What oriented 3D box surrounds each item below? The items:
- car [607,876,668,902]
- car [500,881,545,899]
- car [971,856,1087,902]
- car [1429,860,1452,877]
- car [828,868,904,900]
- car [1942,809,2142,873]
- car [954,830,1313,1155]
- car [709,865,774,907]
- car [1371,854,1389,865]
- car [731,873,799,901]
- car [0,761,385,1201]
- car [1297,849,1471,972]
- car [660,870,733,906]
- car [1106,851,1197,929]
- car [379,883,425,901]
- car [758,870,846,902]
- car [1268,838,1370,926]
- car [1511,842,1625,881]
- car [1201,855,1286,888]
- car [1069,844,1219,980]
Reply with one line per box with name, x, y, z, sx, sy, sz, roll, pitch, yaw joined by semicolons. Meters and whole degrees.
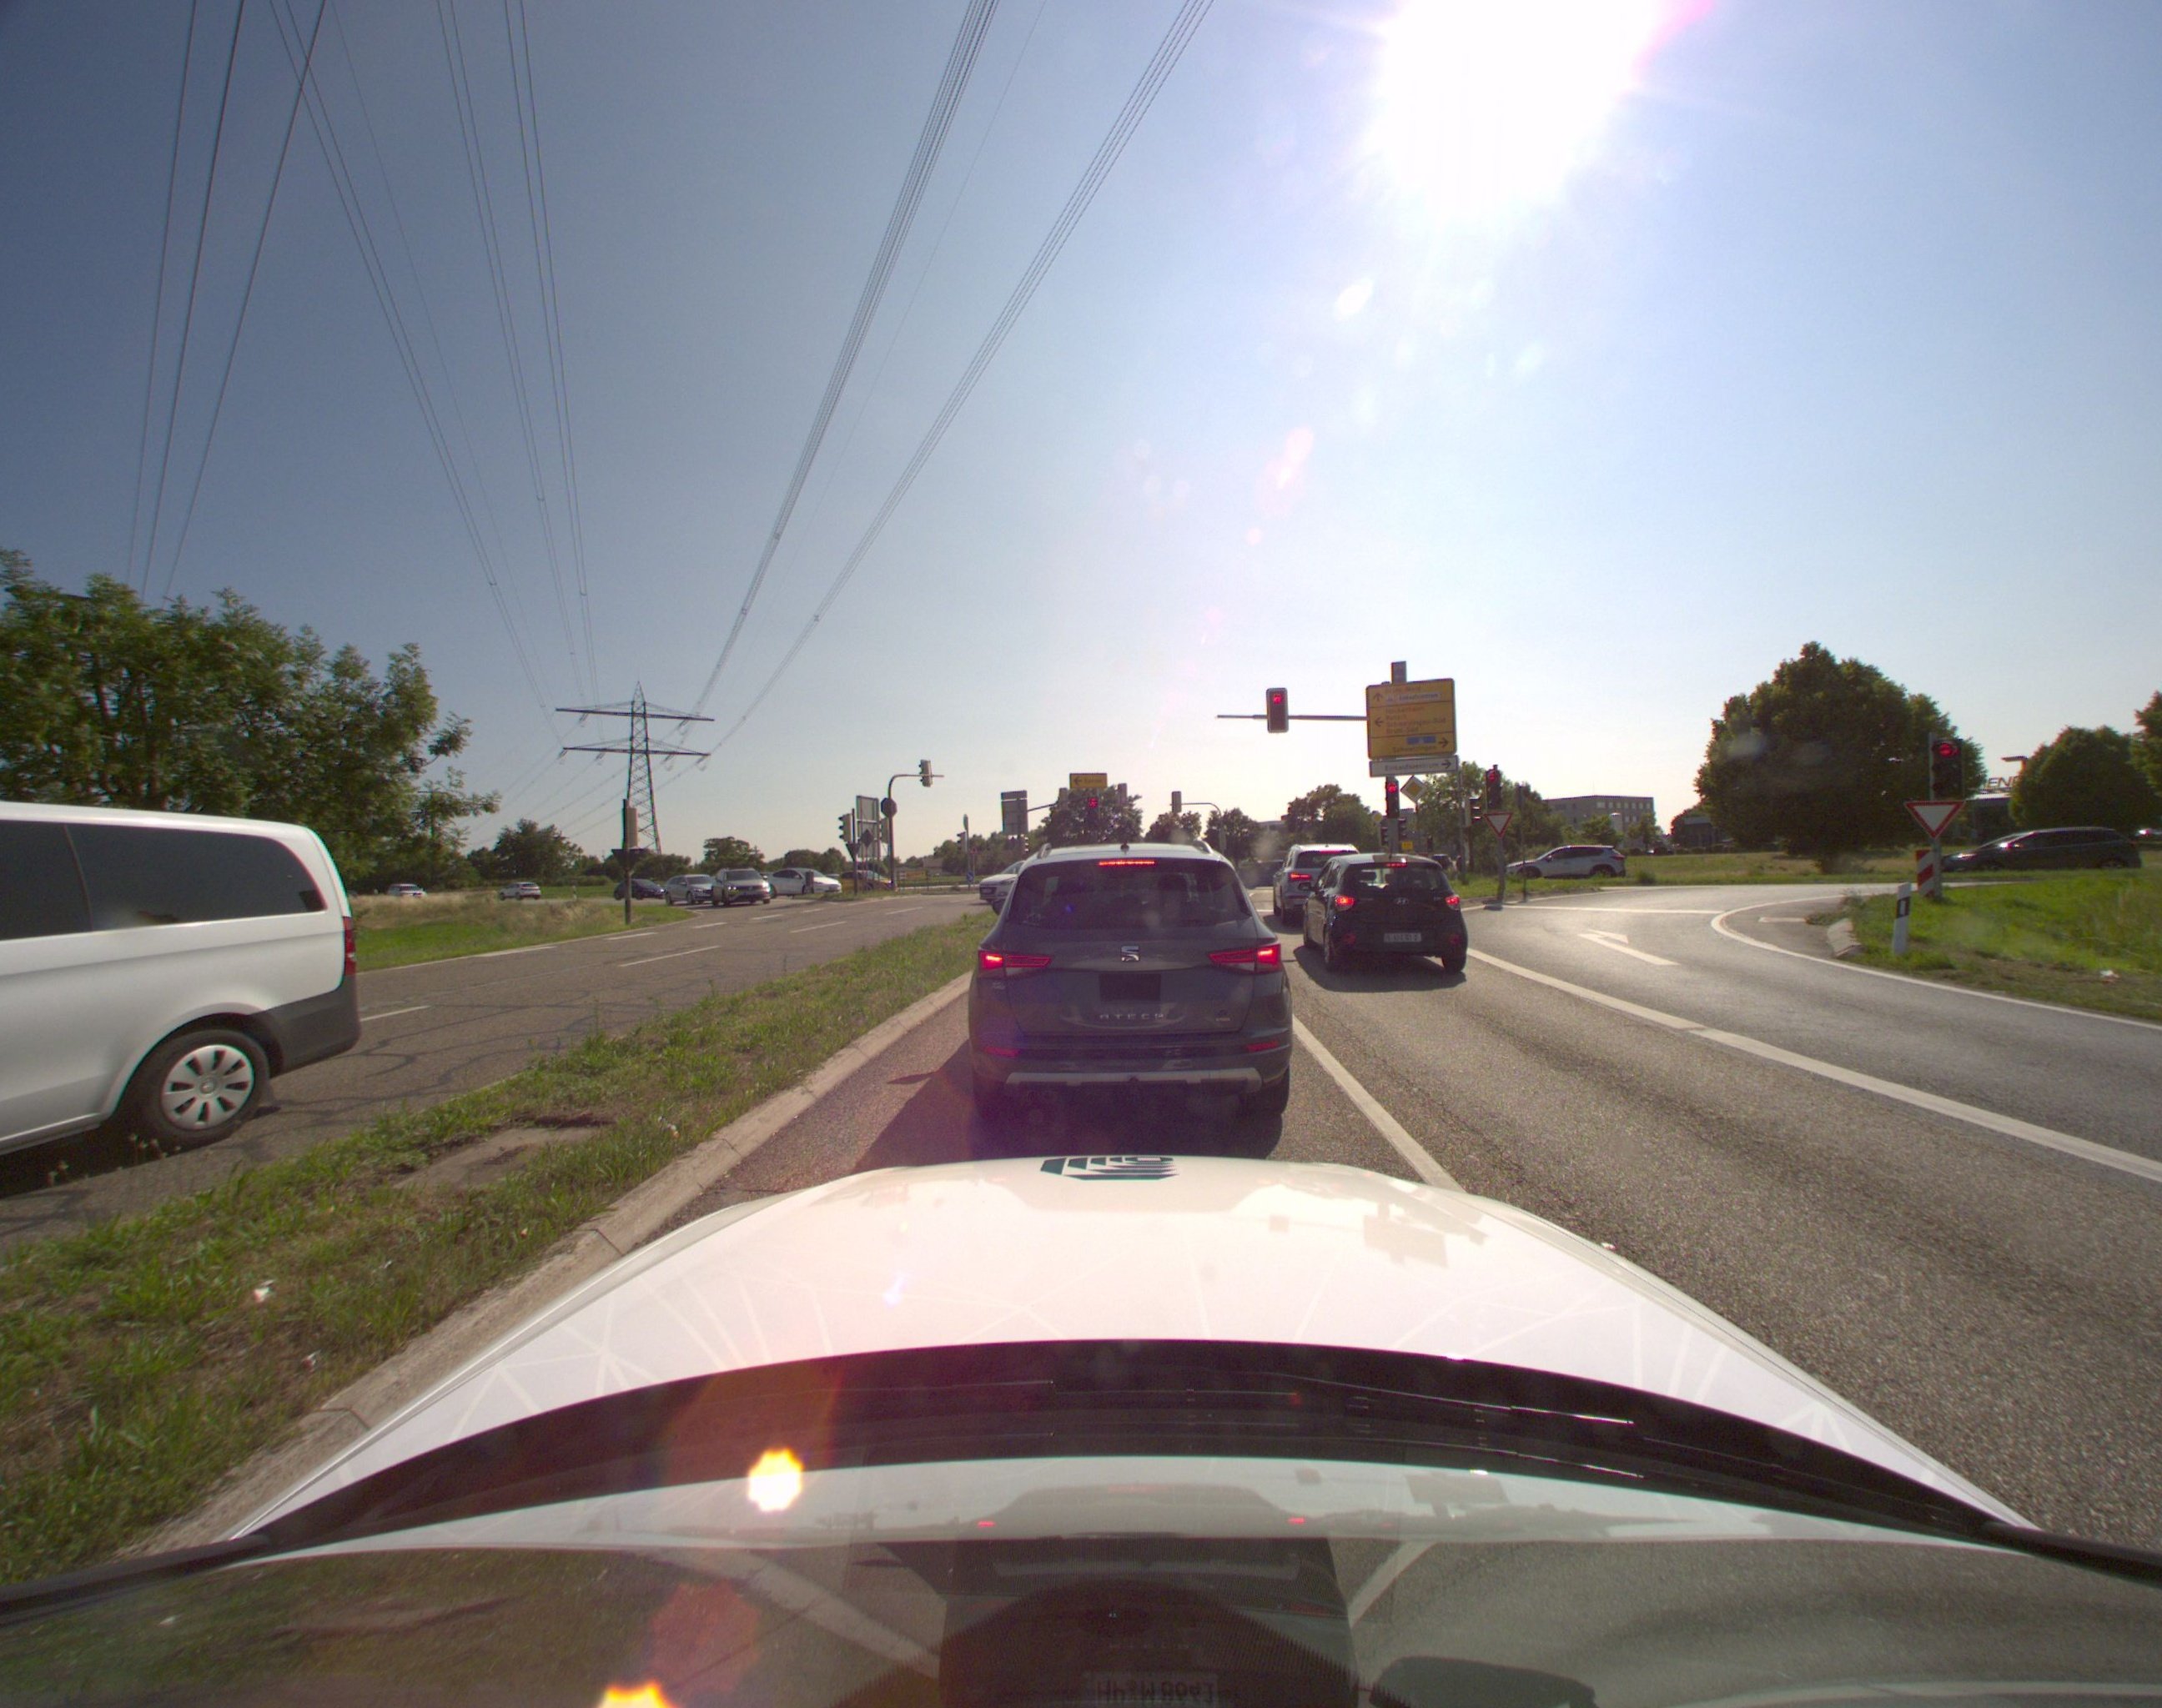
car;-30.796;2.441;56.525;3.949;1.651;1.831;-2;-1;29
car;-51.516;3.351;75.139;3.831;1.519;1.818;-2;-1;27
car;-1.782;0.860;28.812;3.935;1.465;1.702;-1;-1;-44
car;35.832;1.445;81.085;1.859;1.673;3.792;0;-1;27
car;-12.128;1.693;45.983;3.949;1.651;1.831;-2;-1;29
car;32.150;-0.381;27.441;3.968;1.953;1.707;-2;-1;32
car;0.309;0.688;5.771;1.735;1.569;3.625;0;-1;2
car;-14.600;1.346;34.910;1.827;1.651;3.958;-1;-1;-34
car;43.990;0.783;119.657;1.859;1.673;3.793;0;-1;31
car;-19.626;2.050;50.526;3.949;1.651;1.831;-2;-1;29
car;-5.717;0.567;2.993;1.987;1.918;4.948;-1;0;1
car;4.044;0.678;11.360;1.623;1.448;3.303;-1;0;9
car;-19.032;1.686;40.243;3.949;1.651;1.831;-2;-1;42
car;1.568;0.708;17.357;1.732;1.484;3.631;0;-1;7
car;-61.991;3.450;74.354;3.949;1.485;1.831;0;1;28
car;-15.068;1.705;43.922;4.700;1.651;1.831;-1;-1;29
car;5.012;0.553;17.572;1.623;1.677;3.758;-1;0;9
car;20.575;0.337;34.600;3.986;1.519;1.818;-2;-1;27
car;8.212;0.875;41.233;3.832;1.519;1.818;-2;-1;25
car;0.818;0.688;11.249;1.735;1.569;3.626;0;-1;3
